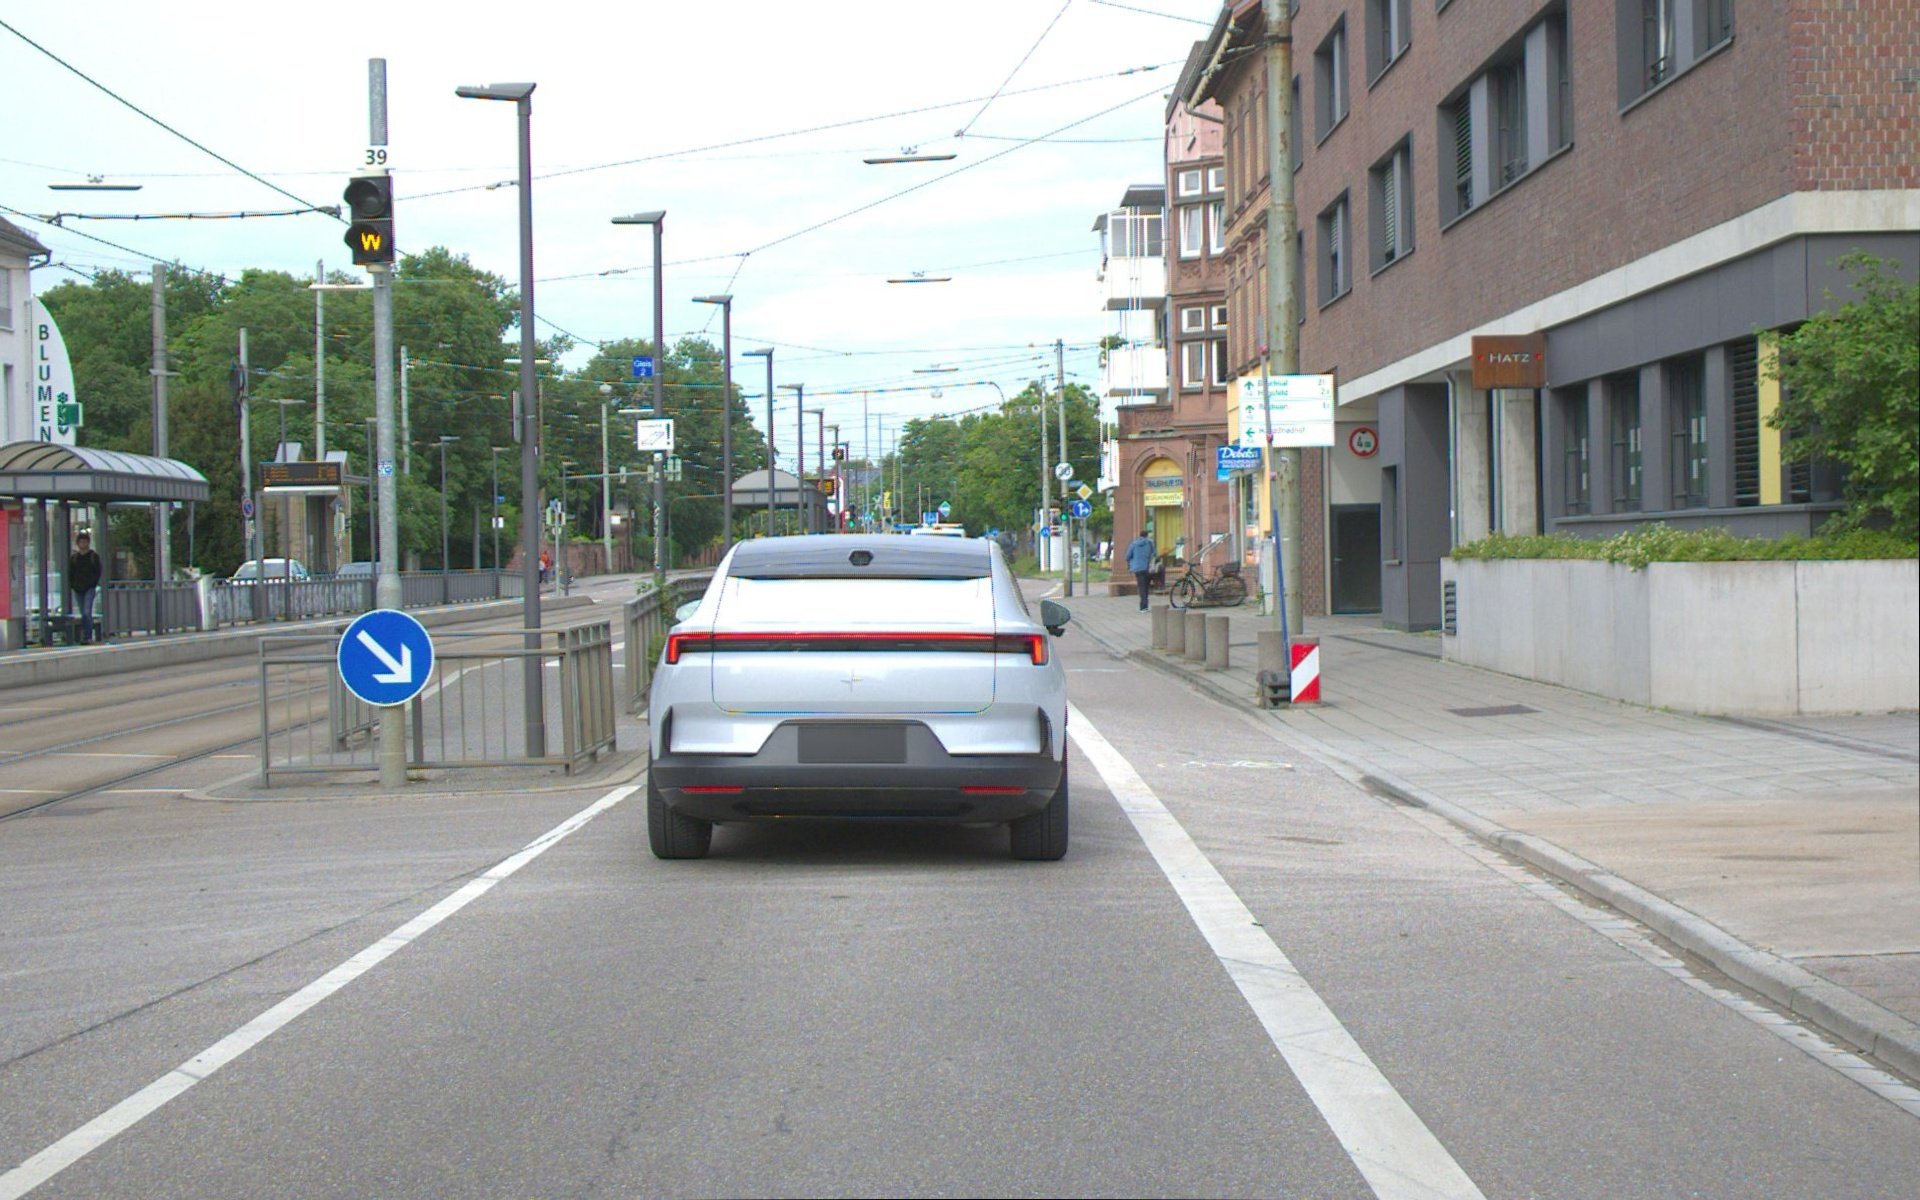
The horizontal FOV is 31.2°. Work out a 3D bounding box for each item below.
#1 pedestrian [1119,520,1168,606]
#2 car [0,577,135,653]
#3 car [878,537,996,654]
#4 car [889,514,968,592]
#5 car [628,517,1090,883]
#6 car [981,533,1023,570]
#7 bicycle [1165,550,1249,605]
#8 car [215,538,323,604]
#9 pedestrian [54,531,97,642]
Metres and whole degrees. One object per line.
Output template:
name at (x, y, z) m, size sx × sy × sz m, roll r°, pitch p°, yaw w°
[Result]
pedestrian at (4.123, -0.835, 77.108) m, size 0.961 × 1.843 × 0.975 m, roll -3°, pitch 1°, yaw 6°
car at (-16.570, 0.264, 63.233) m, size 1.750 × 1.294 × 3.833 m, roll -2°, pitch 1°, yaw 1°
car at (-0.327, -0.084, 51.248) m, size 1.681 × 1.682 × 3.824 m, roll 0°, pitch 0°, yaw 0°
car at (-1.012, -1.463, 108.706) m, size 2.225 × 2.394 × 5.124 m, roll 0°, pitch 0°, yaw -4°
car at (-0.590, 0.423, 16.867) m, size 1.999 × 1.575 × 4.001 m, roll 0°, pitch 0°, yaw -5°
car at (2.899, -3.333, 236.264) m, size 2.807 × 2.496 × 5.722 m, roll 0°, pitch 0°, yaw 0°
bicycle at (5.527, -0.498, 77.025) m, size 1.777 × 1.126 × 0.642 m, roll -3°, pitch 1°, yaw -1°
car at (-17.111, -0.737, 85.263) m, size 1.864 × 1.481 × 4.000 m, roll -3°, pitch 1°, yaw -1°
pedestrian at (-13.353, -0.204, 51.894) m, size 0.615 × 1.659 × 0.697 m, roll 0°, pitch 0°, yaw -13°
